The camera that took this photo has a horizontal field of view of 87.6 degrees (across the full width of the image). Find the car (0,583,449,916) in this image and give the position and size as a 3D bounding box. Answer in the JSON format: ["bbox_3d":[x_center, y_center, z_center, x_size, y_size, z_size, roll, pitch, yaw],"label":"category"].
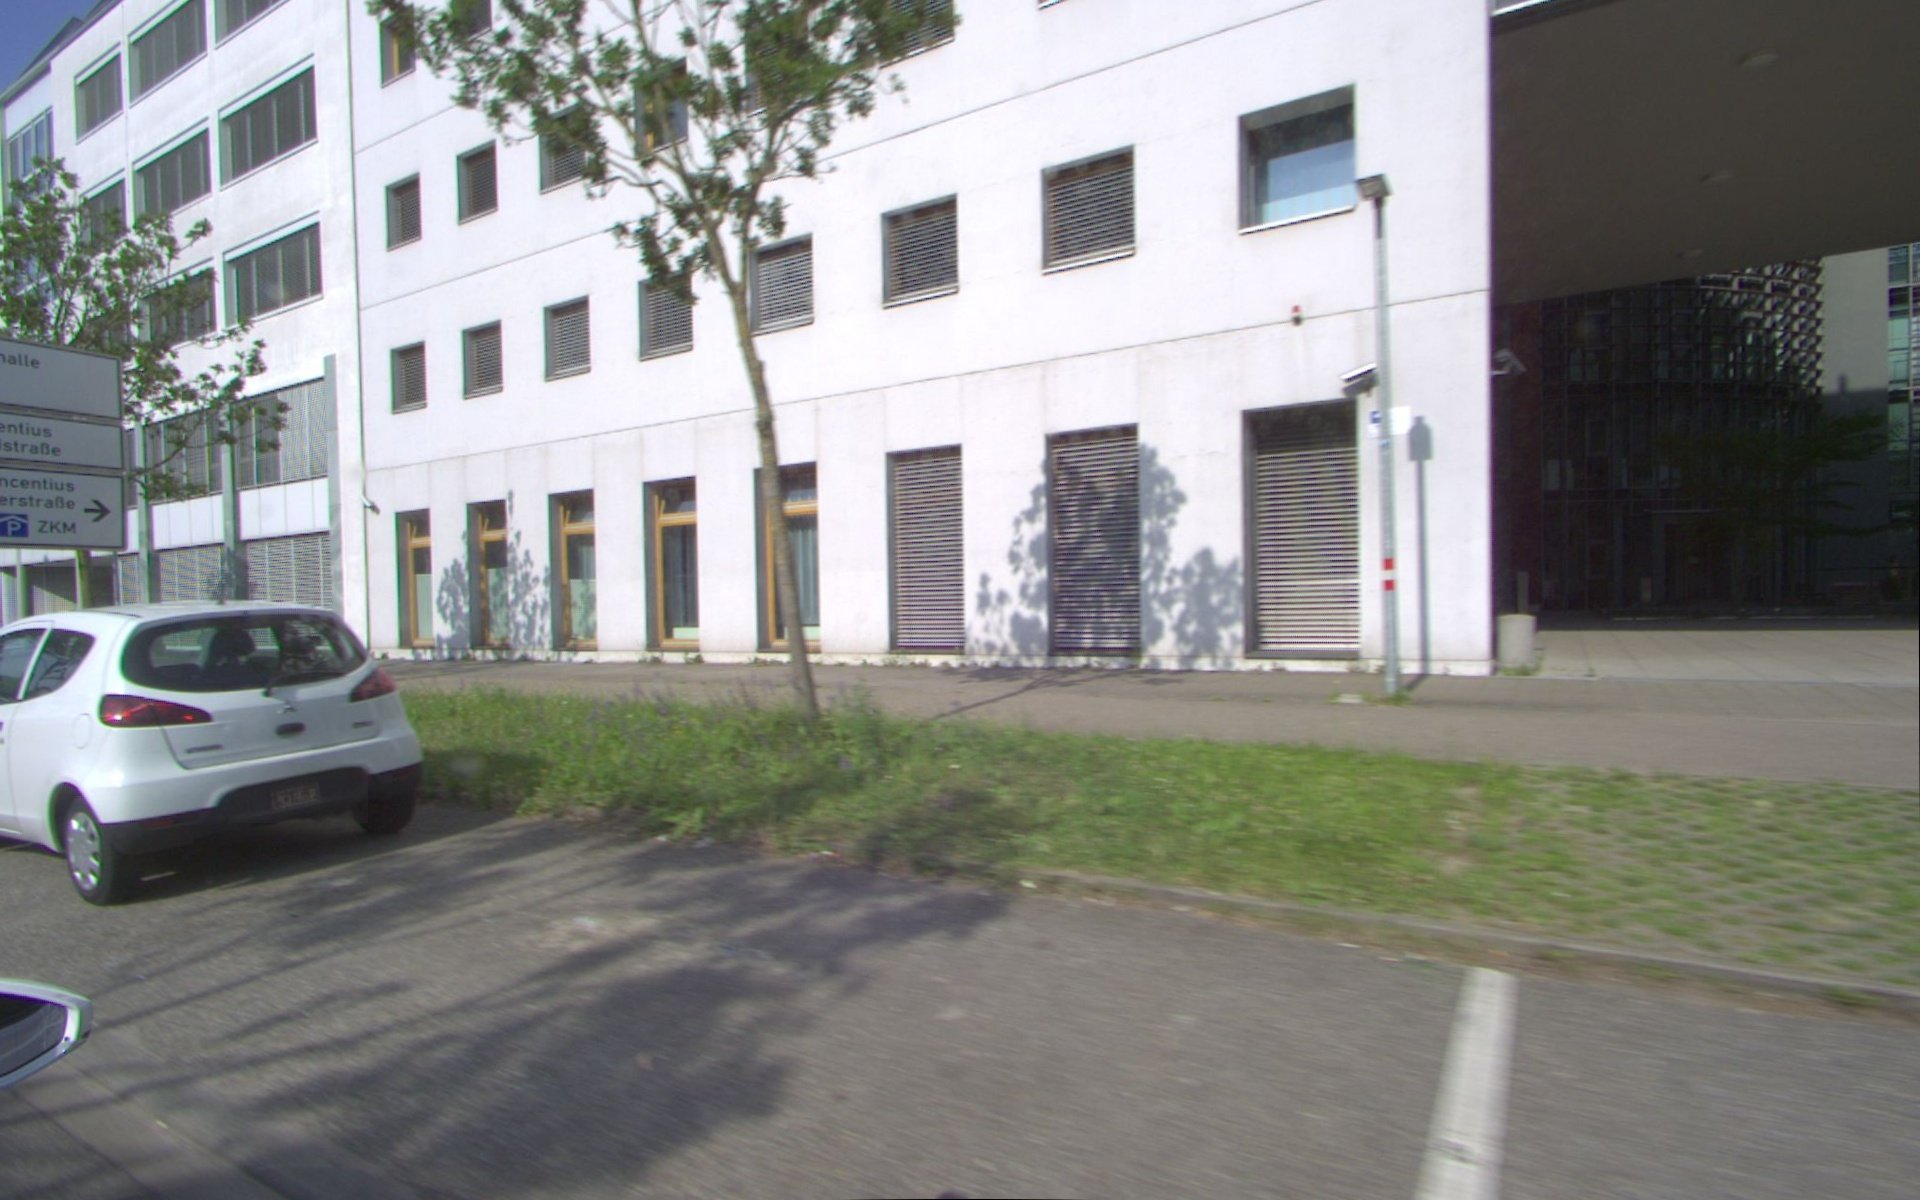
[{"bbox_3d":[-5.265,0.738,6.460,3.794,1.547,1.685,-1,2,31],"label":"car"}]

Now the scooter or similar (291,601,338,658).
[{"bbox_3d":[-14.420,0.655,22.358,1.239,1.230,0.460,0,2,38],"label":"scooter or similar"}]
